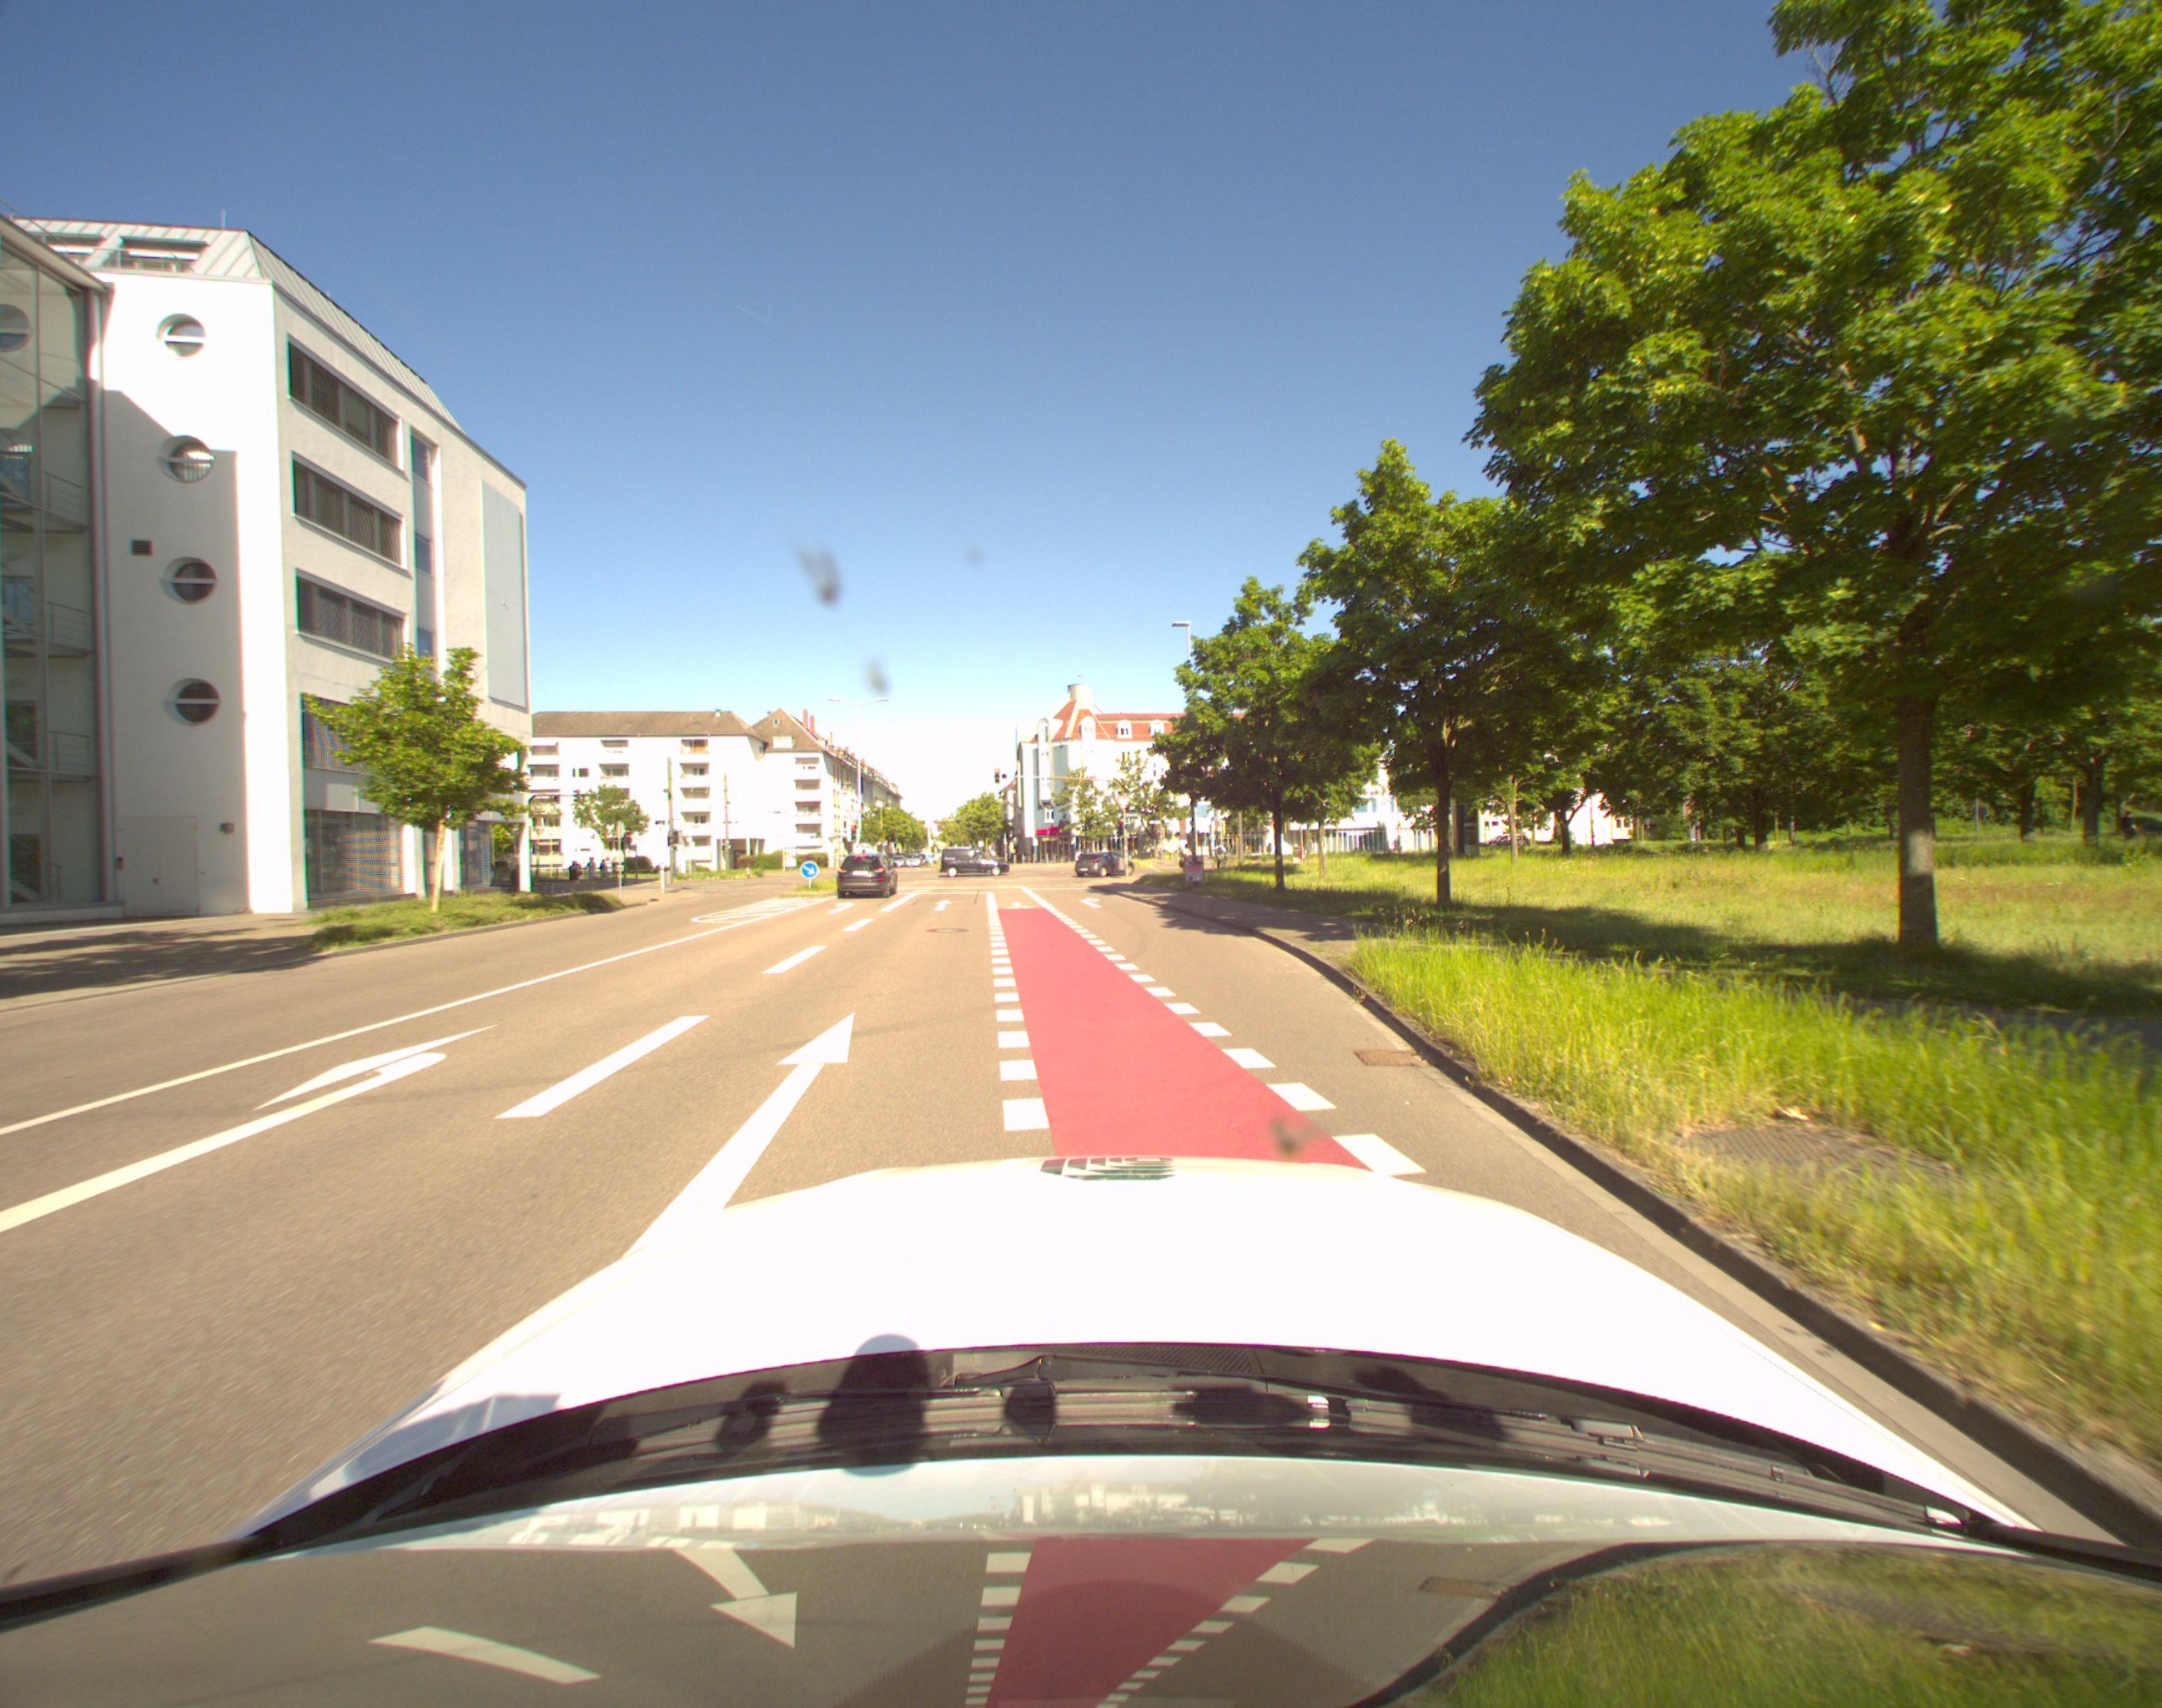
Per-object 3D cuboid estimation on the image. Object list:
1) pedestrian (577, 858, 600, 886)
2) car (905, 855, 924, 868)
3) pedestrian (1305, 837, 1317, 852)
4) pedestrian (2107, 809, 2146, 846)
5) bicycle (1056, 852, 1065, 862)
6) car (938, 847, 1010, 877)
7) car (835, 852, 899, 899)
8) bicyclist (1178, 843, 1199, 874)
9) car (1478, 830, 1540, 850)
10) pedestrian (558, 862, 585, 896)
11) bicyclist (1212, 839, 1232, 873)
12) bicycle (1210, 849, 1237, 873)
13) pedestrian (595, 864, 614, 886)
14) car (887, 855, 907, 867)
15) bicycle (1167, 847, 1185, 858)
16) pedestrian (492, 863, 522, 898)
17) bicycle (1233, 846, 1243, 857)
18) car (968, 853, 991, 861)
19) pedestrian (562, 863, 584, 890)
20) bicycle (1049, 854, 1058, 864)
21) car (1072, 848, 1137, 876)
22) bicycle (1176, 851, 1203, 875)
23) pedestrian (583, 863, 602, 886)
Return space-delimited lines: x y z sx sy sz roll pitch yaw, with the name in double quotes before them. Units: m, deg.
"pedestrian" -32.483 1.159 53.733 0.921 1.770 1.149 -2 0 -12
"car" -19.538 0.864 95.531 1.685 1.432 4.392 1 0 -5
"pedestrian" 26.286 -1.089 93.086 0.989 1.723 0.652 -2 0 -9
"pedestrian" 50.253 -1.281 39.147 0.884 1.726 0.738 -2 0 -4
"bicycle" -2.140 0.342 83.629 0.473 1.027 1.506 -2 0 -19
"car" -6.858 0.509 52.000 4.484 1.800 1.758 1 -1 -11
"car" -7.966 0.776 30.662 1.752 1.628 4.466 1 0 -8
"bicyclist" 6.353 0.262 47.979 0.782 1.824 1.142 -2 0 30
"car" 38.165 -1.257 72.676 4.484 1.609 2.001 -2 0 1
"pedestrian" -26.996 1.316 43.168 0.811 1.726 1.149 -2 0 -12
"bicyclist" 8.312 0.113 47.959 0.782 1.959 1.017 -2 0 30
"bicycle" 8.423 0.415 48.131 0.782 1.348 2.277 -2 0 30
"pedestrian" -37.574 1.654 64.165 1.139 1.726 0.818 -2 0 34
"car" -22.226 0.867 98.595 1.685 1.432 4.392 1 0 -5
"bicycle" 10.640 -0.142 91.371 1.865 1.182 0.560 -2 0 -12
"pedestrian" -29.793 1.357 42.266 0.811 1.726 1.149 -2 0 -12
"bicycle" 18.023 -0.285 93.470 0.559 1.182 1.866 -2 0 -6
"car" -16.728 0.545 134.443 3.576 1.223 1.721 -1 -1 -17
"pedestrian" -33.890 1.479 54.353 0.811 1.726 1.149 -2 0 -12
"bicycle" -2.836 0.496 83.008 0.473 1.027 1.507 -2 0 -18
"car" 1.412 0.447 47.452 1.672 1.578 3.895 0 -1 41
"bicycle" 6.385 0.501 48.021 0.782 1.348 2.092 -2 0 30
"pedestrian" -38.108 1.603 63.508 1.139 1.726 0.818 -2 0 34
